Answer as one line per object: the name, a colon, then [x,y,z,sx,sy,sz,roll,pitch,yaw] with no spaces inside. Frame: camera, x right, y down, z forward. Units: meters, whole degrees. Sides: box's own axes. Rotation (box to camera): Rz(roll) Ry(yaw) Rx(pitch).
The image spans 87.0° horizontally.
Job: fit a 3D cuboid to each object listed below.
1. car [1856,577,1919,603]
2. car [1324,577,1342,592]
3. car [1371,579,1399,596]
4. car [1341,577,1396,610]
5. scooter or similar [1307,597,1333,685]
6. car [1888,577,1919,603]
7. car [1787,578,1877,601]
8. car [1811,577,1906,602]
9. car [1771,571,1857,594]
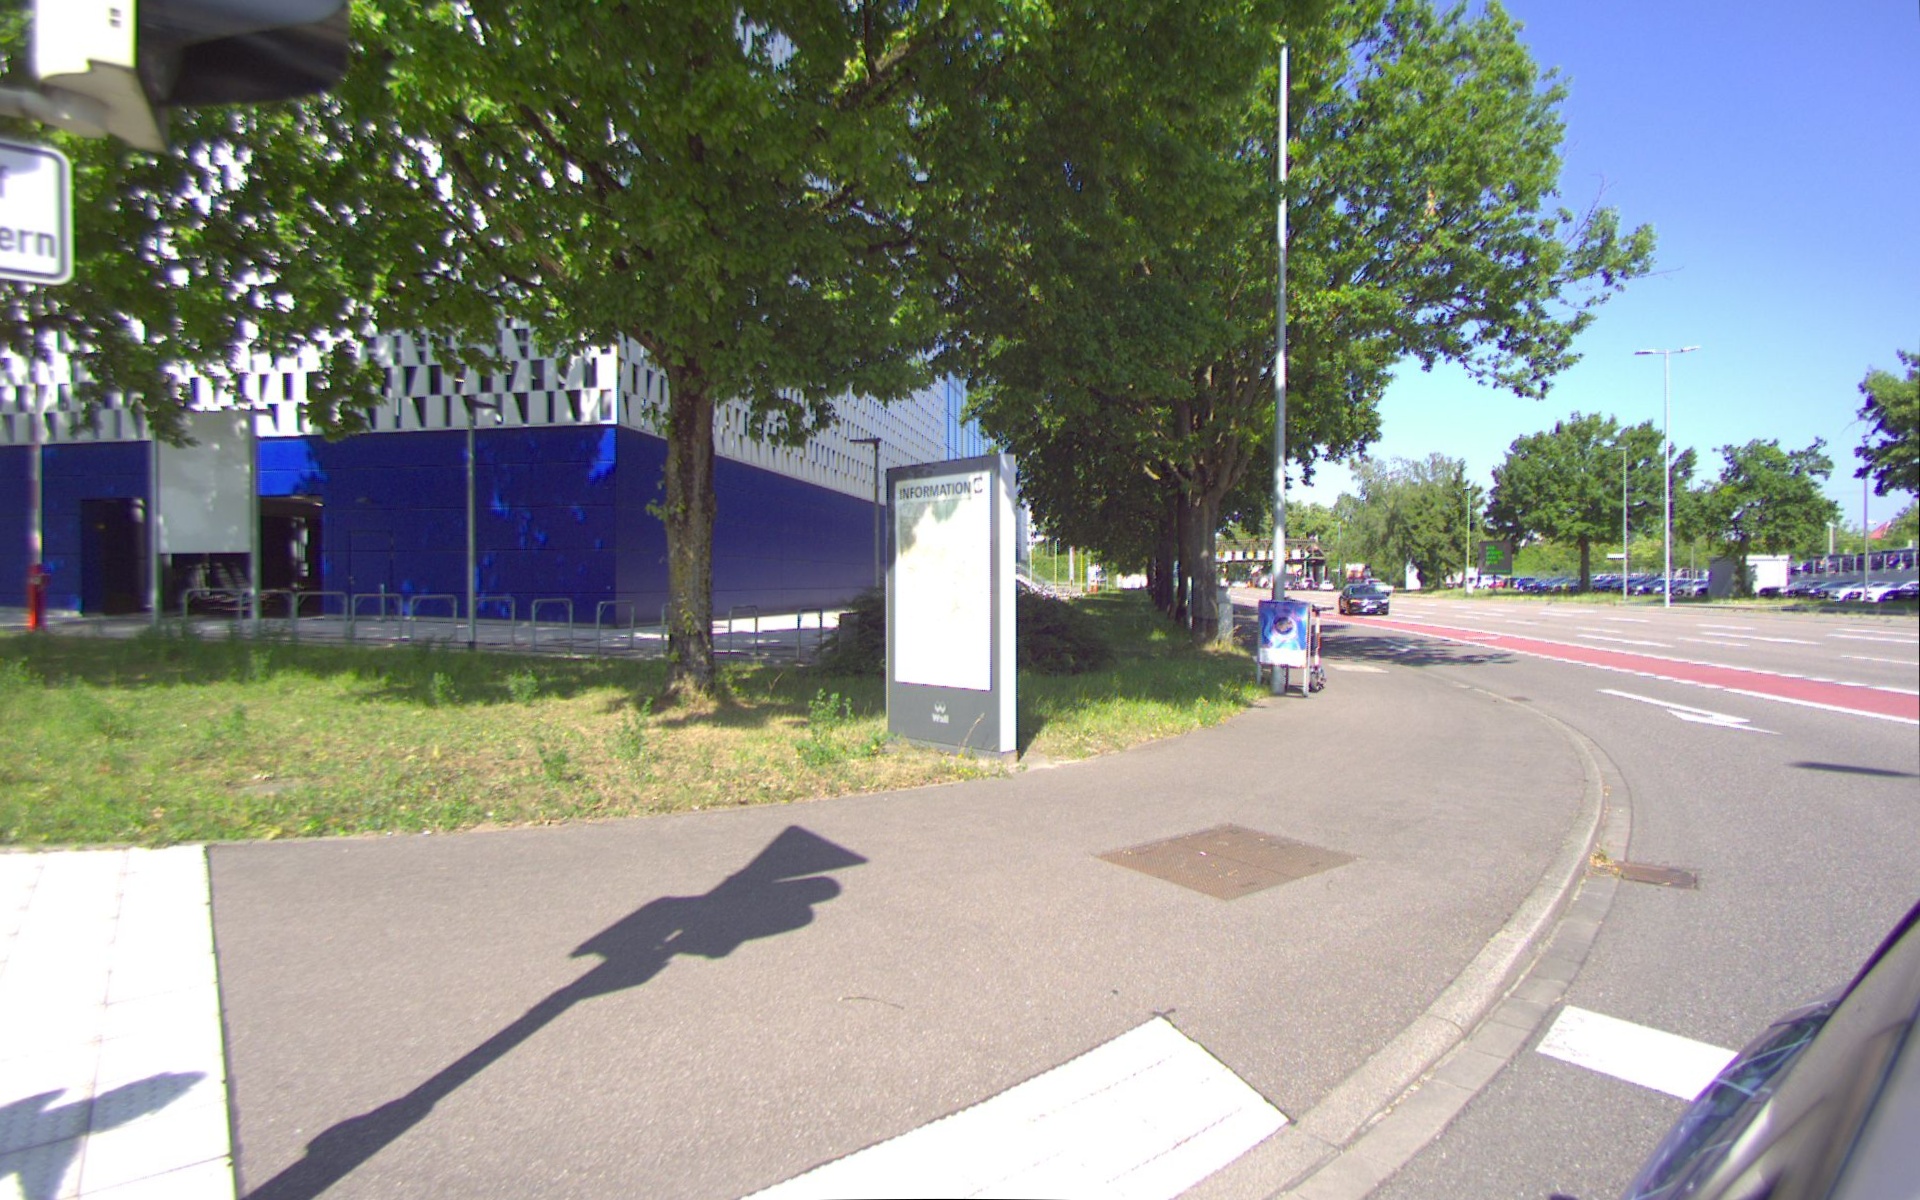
car: [47.513,-0.514,50.796,3.370,1.265,1.587,1,1,17]
car: [52.714,-2.229,143.238,1.971,2.039,3.982,-1,1,14]
car: [44.550,-1.334,106.103,2.139,1.696,4.491,-1,1,16]
car: [19.460,-0.339,48.345,1.745,1.483,4.223,-1,1,13]
scooter or similar: [5.248,0.573,14.721,0.252,1.196,1.379,1,1,24]
car: [46.888,-0.479,48.342,3.370,1.265,1.587,1,1,17]
car: [48.342,-0.590,56.158,3.370,1.265,1.587,1,1,17]
car: [47.705,-0.558,53.818,3.370,1.265,1.587,1,1,17]
car: [48.851,-0.994,57.964,3.370,1.265,1.587,1,1,17]
